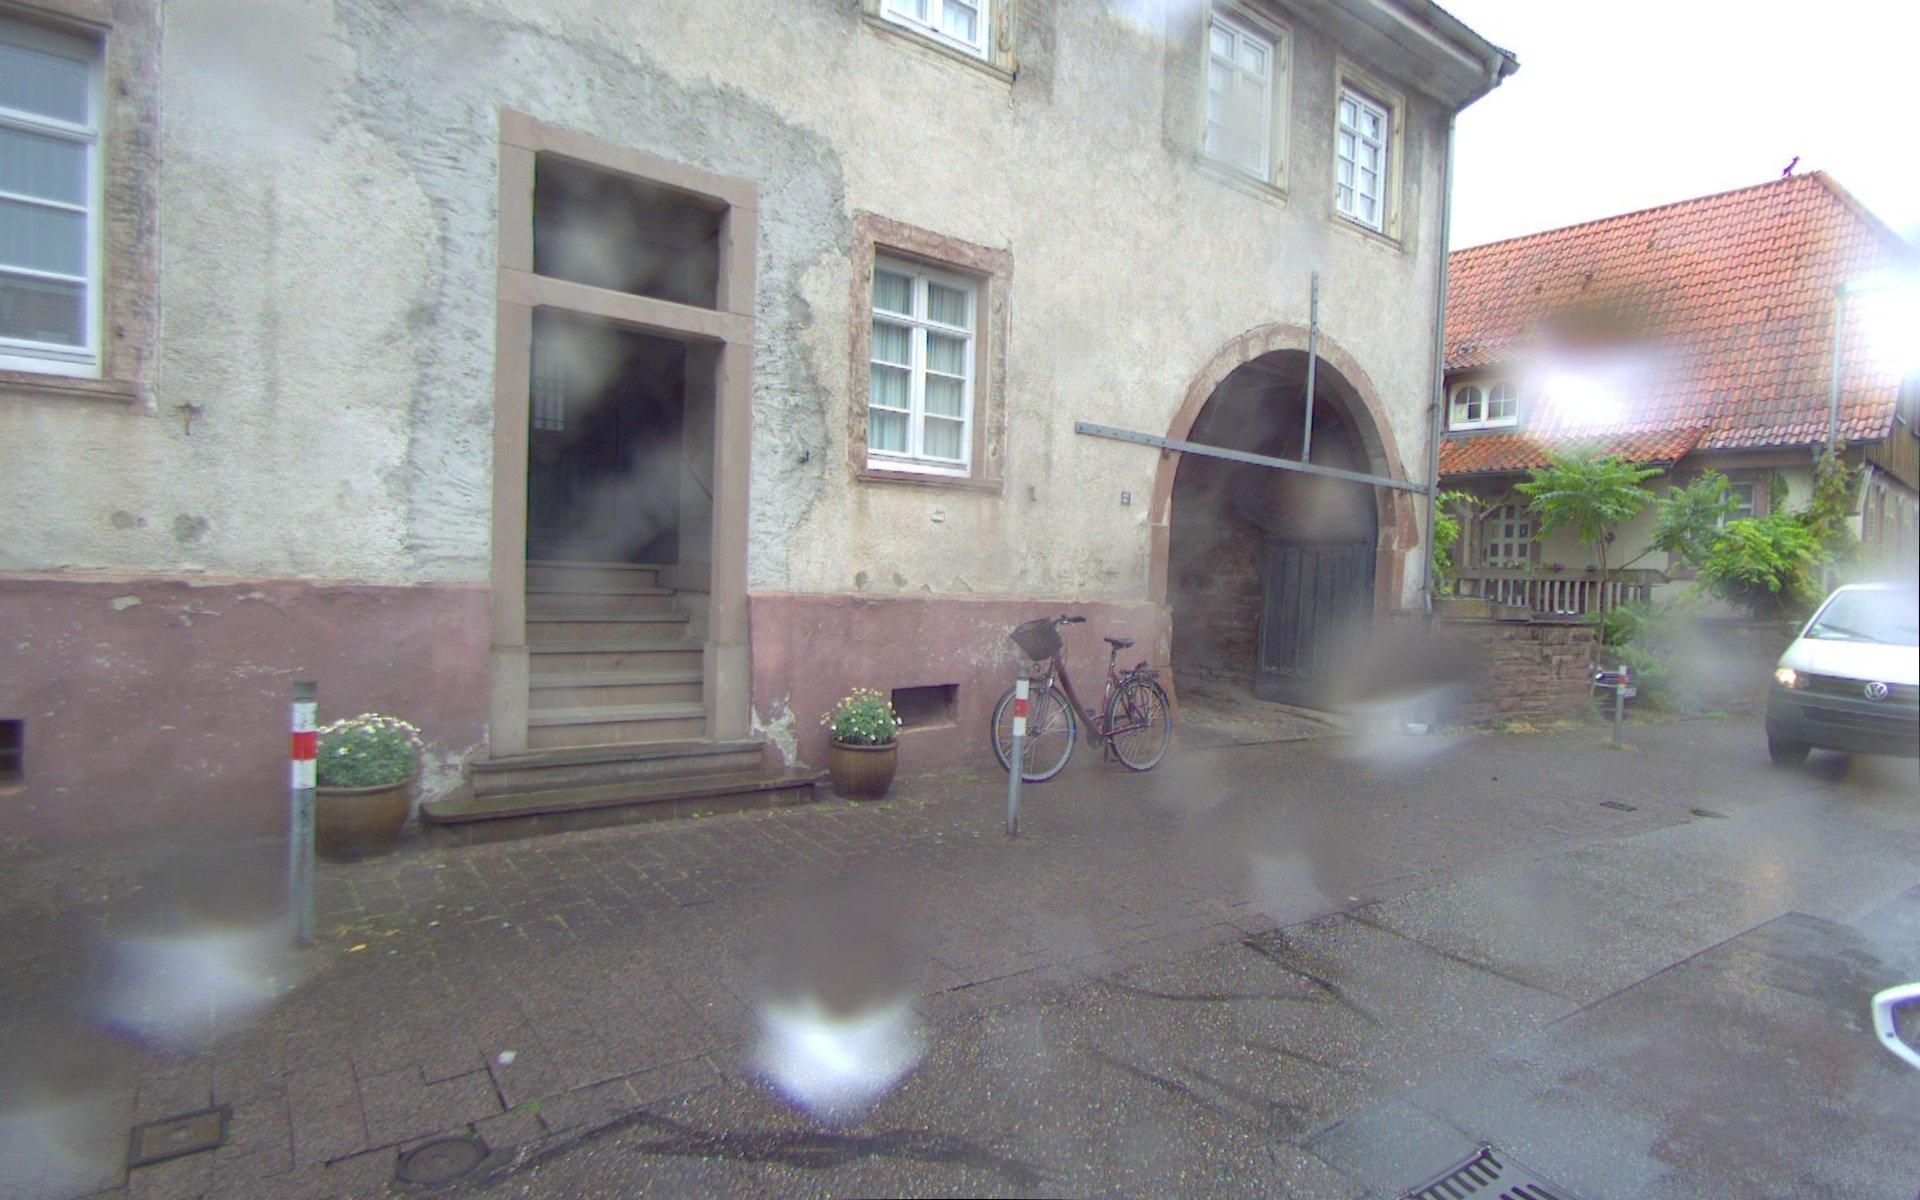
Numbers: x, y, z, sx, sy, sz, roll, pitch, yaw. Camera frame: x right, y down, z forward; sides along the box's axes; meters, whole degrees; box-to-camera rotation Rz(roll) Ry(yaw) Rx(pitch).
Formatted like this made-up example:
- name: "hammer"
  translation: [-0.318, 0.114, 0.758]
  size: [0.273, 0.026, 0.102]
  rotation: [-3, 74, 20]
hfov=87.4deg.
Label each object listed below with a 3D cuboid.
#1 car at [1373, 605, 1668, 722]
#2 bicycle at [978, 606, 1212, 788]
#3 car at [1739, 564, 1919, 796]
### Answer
- name: "car"
  translation: [8.246, 0.856, 15.055]
  size: [1.578, 1.394, 3.505]
  rotation: [2, 1, -34]
- name: "bicycle"
  translation: [1.040, 0.687, 7.473]
  size: [1.817, 1.196, 0.480]
  rotation: [2, 2, -35]
- name: "car"
  translation: [10.146, 0.788, 10.414]
  size: [4.676, 1.993, 1.880]
  rotation: [3, 2, -35]
